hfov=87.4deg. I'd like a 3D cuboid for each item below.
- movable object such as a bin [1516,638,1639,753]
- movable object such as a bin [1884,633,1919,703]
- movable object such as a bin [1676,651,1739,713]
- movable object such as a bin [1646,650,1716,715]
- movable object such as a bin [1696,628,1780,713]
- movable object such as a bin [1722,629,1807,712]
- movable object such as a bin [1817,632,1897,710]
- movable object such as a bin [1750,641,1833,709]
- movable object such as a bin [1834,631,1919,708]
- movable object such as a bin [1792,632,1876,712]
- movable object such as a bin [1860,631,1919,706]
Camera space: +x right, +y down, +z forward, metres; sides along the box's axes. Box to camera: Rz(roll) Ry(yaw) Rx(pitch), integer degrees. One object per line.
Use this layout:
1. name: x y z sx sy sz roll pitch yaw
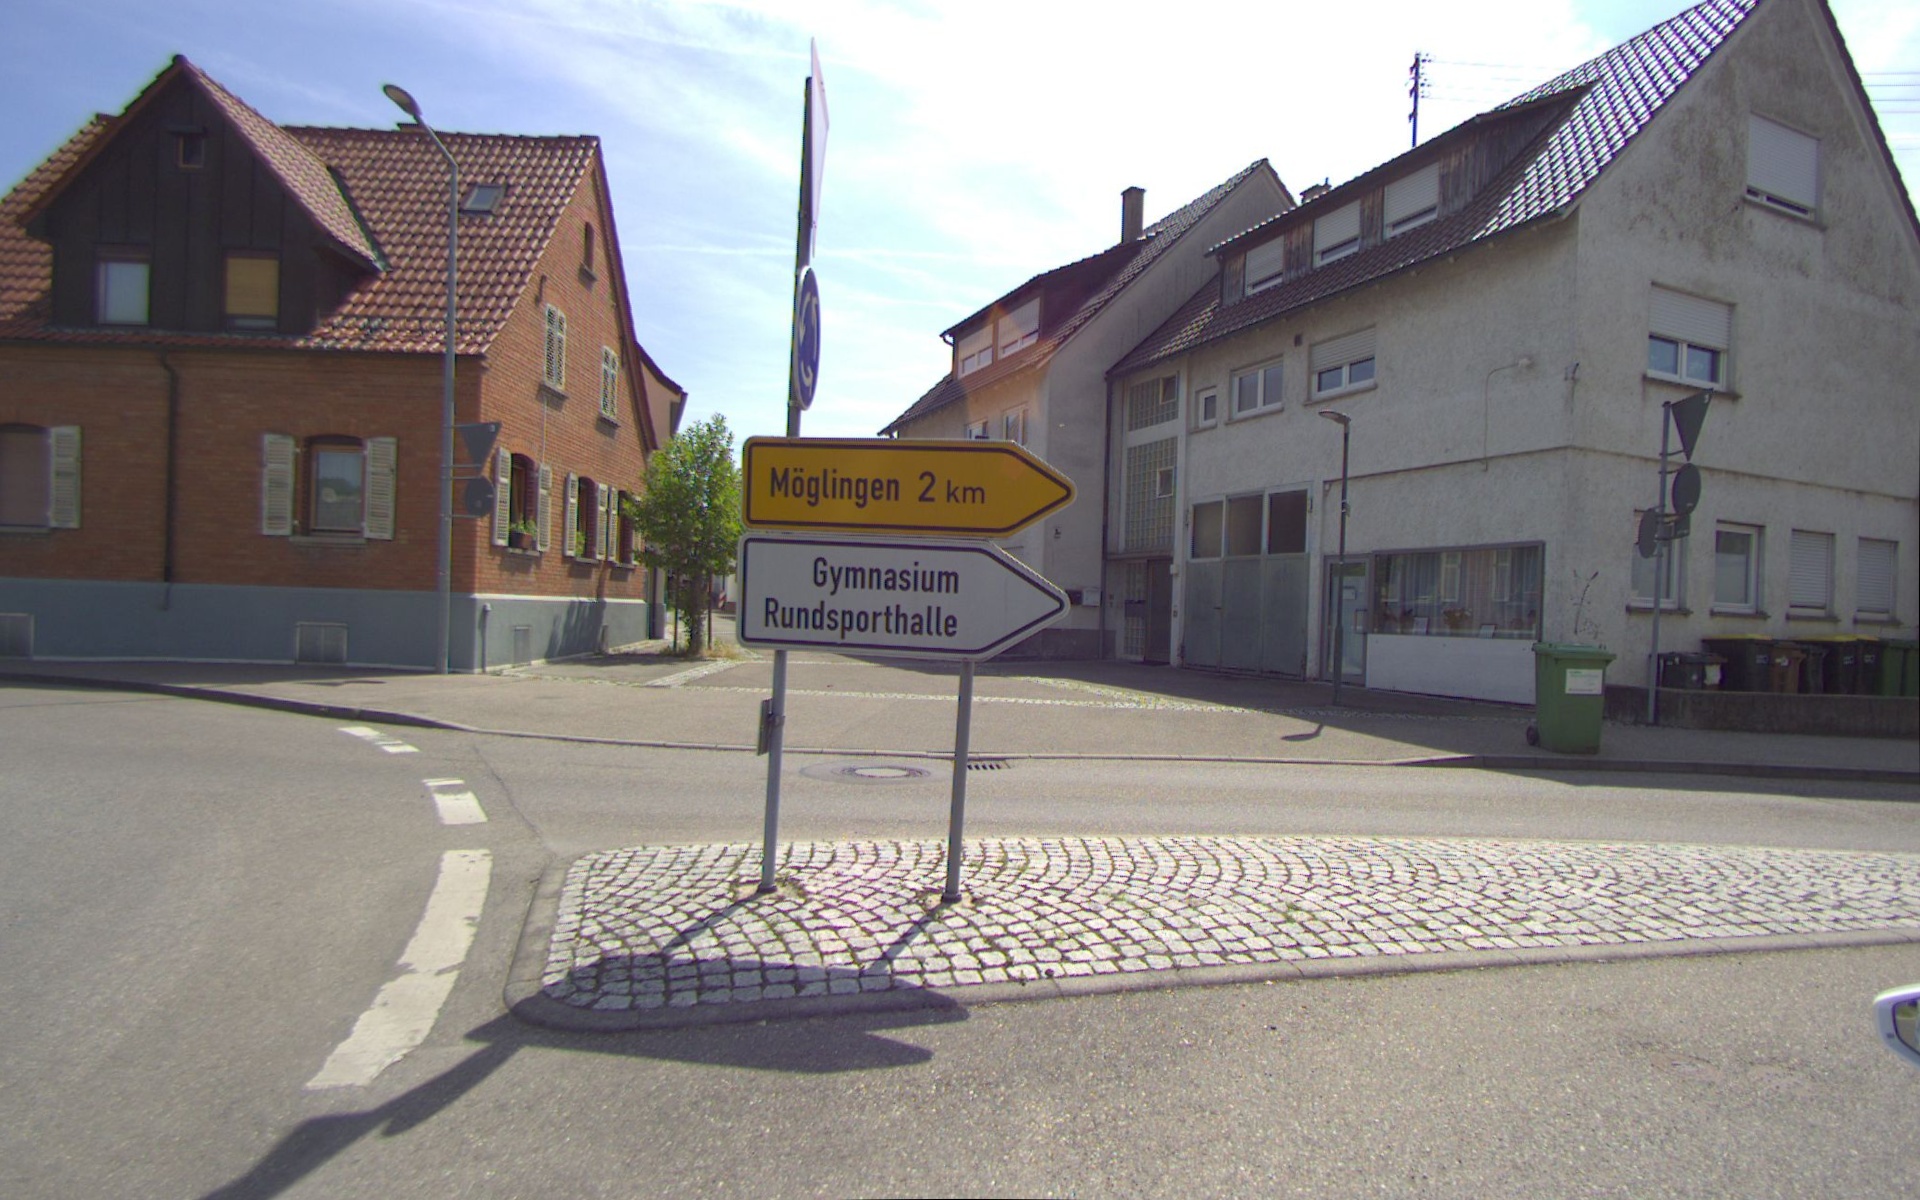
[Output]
1. movable object such as a bin: 6.233 0.939 10.187 0.810 1.059 0.811 1 1 11
2. movable object such as a bin: 15.048 1.066 15.740 0.595 1.049 0.625 1 1 -26
3. movable object such as a bin: 10.157 1.103 13.654 0.520 0.791 0.483 1 1 -26
4. movable object such as a bin: 9.622 1.089 13.409 0.637 0.816 0.484 1 1 -24
5. movable object such as a bin: 10.718 0.960 13.847 0.636 1.101 0.680 1 1 -26
6. movable object such as a bin: 11.325 0.971 14.144 0.689 1.101 0.680 1 1 -26
7. movable object such as a bin: 13.309 1.042 14.911 0.617 1.097 0.680 1 1 -25
8. movable object such as a bin: 11.979 1.065 14.478 0.689 0.908 0.680 1 1 -26
9. movable object such as a bin: 13.886 1.031 15.230 0.651 1.097 0.736 1 1 -25
10. movable object such as a bin: 12.710 1.035 14.608 0.689 1.097 0.680 1 1 -26
11. movable object such as a bin: 14.484 1.042 15.522 0.576 1.097 0.676 1 1 -25
